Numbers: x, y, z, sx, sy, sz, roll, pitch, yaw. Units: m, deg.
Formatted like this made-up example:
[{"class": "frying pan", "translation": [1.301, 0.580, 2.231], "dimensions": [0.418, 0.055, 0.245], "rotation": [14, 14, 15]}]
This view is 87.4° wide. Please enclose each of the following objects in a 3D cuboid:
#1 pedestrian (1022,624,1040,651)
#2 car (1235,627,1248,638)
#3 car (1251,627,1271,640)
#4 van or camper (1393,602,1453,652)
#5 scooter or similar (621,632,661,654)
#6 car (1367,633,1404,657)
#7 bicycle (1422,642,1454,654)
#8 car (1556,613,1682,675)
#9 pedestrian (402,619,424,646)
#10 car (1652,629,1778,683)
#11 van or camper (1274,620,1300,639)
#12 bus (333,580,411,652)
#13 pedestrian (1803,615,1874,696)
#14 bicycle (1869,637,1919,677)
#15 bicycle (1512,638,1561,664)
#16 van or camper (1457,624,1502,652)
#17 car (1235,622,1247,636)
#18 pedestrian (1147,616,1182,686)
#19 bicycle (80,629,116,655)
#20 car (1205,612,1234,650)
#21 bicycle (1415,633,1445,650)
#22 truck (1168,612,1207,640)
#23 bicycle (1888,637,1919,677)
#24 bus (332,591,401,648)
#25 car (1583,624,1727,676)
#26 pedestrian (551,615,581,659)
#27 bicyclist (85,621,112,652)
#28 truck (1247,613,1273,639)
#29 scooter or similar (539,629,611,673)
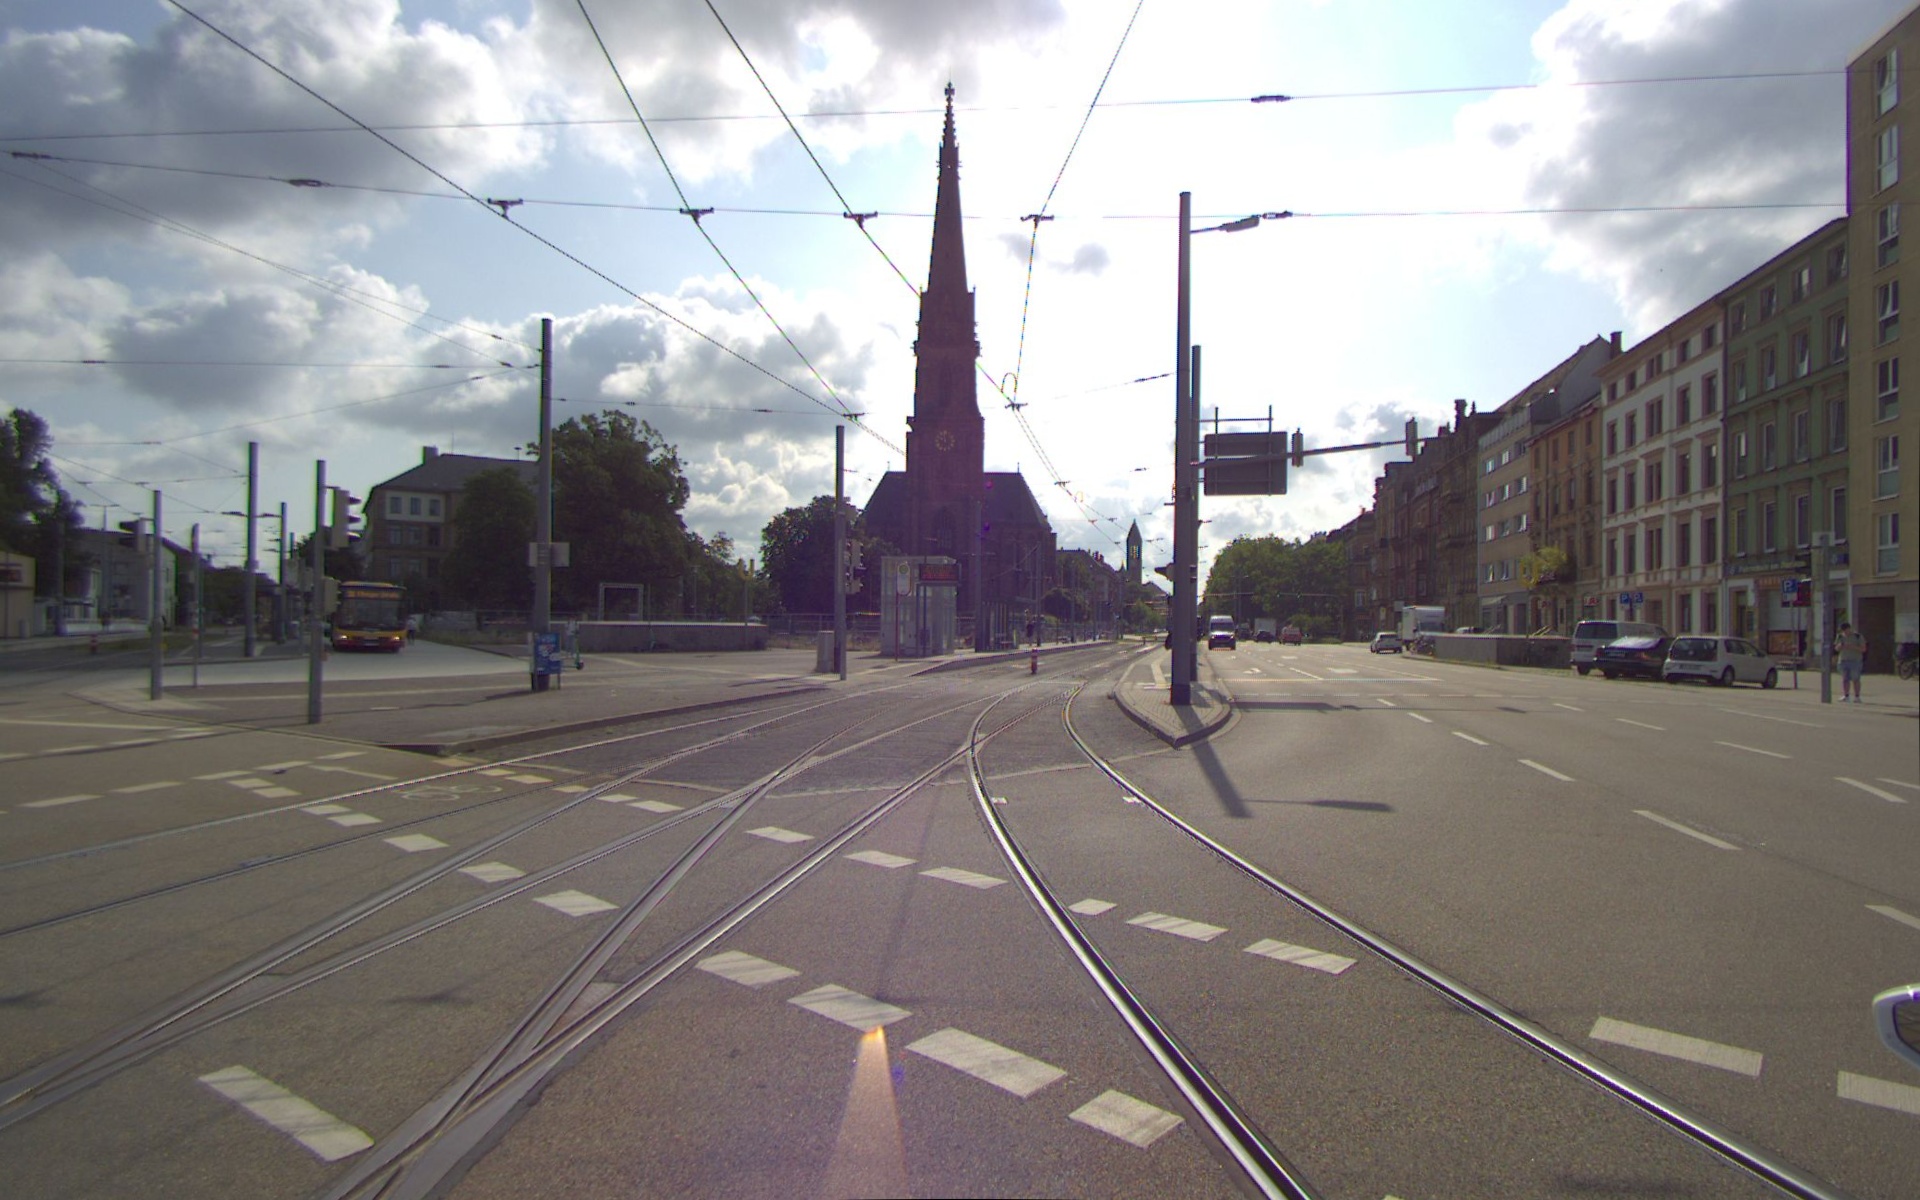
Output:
[{"class": "pedestrian", "translation": [5.121, 2.719, 72.489], "dimensions": [0.981, 1.824, 1.046], "rotation": [2, 4, 19]}, {"class": "car", "translation": [43.072, 4.994, 153.929], "dimensions": [1.740, 1.684, 4.003], "rotation": [1, -1, 14]}, {"class": "car", "translation": [36.493, 4.021, 121.979], "dimensions": [1.959, 1.528, 4.003], "rotation": [0, -1, 12]}, {"class": "van or camper", "translation": [33.891, 1.908, 73.768], "dimensions": [2.666, 3.375, 7.642], "rotation": [0, 1, 15]}, {"class": "scooter or similar", "translation": [-14.286, 1.910, 44.972], "dimensions": [1.645, 0.962, 0.469], "rotation": [1, -1, -33]}, {"class": "car", "translation": [30.285, 3.188, 71.530], "dimensions": [1.761, 1.456, 4.345], "rotation": [-4, -1, 15]}, {"class": "bicycle", "translation": [29.367, 2.935, 61.718], "dimensions": [0.630, 0.594, 1.759], "rotation": [-1, 1, -26]}, {"class": "car", "translation": [24.468, 1.591, 37.236], "dimensions": [4.844, 2.112, 2.062], "rotation": [1, 0, -32]}, {"class": "pedestrian", "translation": [-31.322, 1.864, 57.518], "dimensions": [0.837, 1.542, 0.797], "rotation": [0, -1, 37]}, {"class": "car", "translation": [22.665, 1.652, 30.151], "dimensions": [3.468, 1.460, 1.707], "rotation": [1, 1, -28]}, {"class": "van or camper", "translation": [36.136, 3.297, 111.078], "dimensions": [1.974, 1.939, 4.527], "rotation": [2, -2, 9]}, {"class": "bus", "translation": [-25.661, 0.703, 43.711], "dimensions": [2.671, 2.871, 7.037], "rotation": [1, -1, -32]}, {"class": "pedestrian", "translation": [19.903, 1.260, 22.769], "dimensions": [0.978, 1.782, 0.784], "rotation": [2, -2, -11]}, {"class": "bicycle", "translation": [30.992, 1.869, 33.315], "dimensions": [0.478, 1.218, 1.646], "rotation": [0, 1, 13]}, {"class": "bicycle", "translation": [25.009, 2.224, 43.607], "dimensions": [1.742, 1.017, 0.513], "rotation": [2, 2, 7]}, {"class": "van or camper", "translation": [42.104, 3.026, 81.561], "dimensions": [1.960, 1.930, 5.300], "rotation": [-2, 0, 13]}, {"class": "car", "translation": [46.525, 4.861, 166.066], "dimensions": [1.740, 2.264, 4.003], "rotation": [1, -1, 14]}, {"class": "pedestrian", "translation": [5.166, 1.279, 25.393], "dimensions": [0.828, 1.696, 0.795], "rotation": [-1, 1, 12]}, {"class": "bicycle", "translation": [-34.053, 1.674, 39.700], "dimensions": [0.804, 1.005, 2.050], "rotation": [4, -5, -34]}, {"class": "car", "translation": [19.939, 2.353, 77.372], "dimensions": [1.960, 2.657, 5.582], "rotation": [-1, 1, 13]}, {"class": "bicycle", "translation": [30.927, 2.744, 66.068], "dimensions": [1.729, 1.100, 0.372], "rotation": [0, 3, 1]}, {"class": "truck", "translation": [30.590, 3.465, 135.348], "dimensions": [2.427, 3.697, 7.435], "rotation": [1, -1, -11]}, {"class": "bicycle", "translation": [31.517, 1.889, 33.214], "dimensions": [0.478, 1.218, 1.646], "rotation": [0, 1, 13]}, {"class": "bus", "translation": [-28.891, 0.951, 48.786], "dimensions": [2.673, 2.621, 5.032], "rotation": [1, -1, -33]}, {"class": "car", "translation": [23.005, 1.602, 33.210], "dimensions": [5.001, 1.488, 1.877], "rotation": [0, 1, -29]}, {"class": "pedestrian", "translation": [-15.984, 1.497, 40.772], "dimensions": [0.920, 1.712, 1.086], "rotation": [-1, 2, -35]}, {"class": "bicyclist", "translation": [-34.060, 1.445, 39.725], "dimensions": [0.690, 1.167, 0.731], "rotation": [4, -5, -35]}, {"class": "truck", "translation": [41.482, 3.653, 139.132], "dimensions": [3.116, 3.329, 7.302], "rotation": [1, -2, 14]}, {"class": "scooter or similar", "translation": [-11.309, 1.499, 29.557], "dimensions": [1.311, 1.204, 1.496], "rotation": [2, -2, 15]}]
